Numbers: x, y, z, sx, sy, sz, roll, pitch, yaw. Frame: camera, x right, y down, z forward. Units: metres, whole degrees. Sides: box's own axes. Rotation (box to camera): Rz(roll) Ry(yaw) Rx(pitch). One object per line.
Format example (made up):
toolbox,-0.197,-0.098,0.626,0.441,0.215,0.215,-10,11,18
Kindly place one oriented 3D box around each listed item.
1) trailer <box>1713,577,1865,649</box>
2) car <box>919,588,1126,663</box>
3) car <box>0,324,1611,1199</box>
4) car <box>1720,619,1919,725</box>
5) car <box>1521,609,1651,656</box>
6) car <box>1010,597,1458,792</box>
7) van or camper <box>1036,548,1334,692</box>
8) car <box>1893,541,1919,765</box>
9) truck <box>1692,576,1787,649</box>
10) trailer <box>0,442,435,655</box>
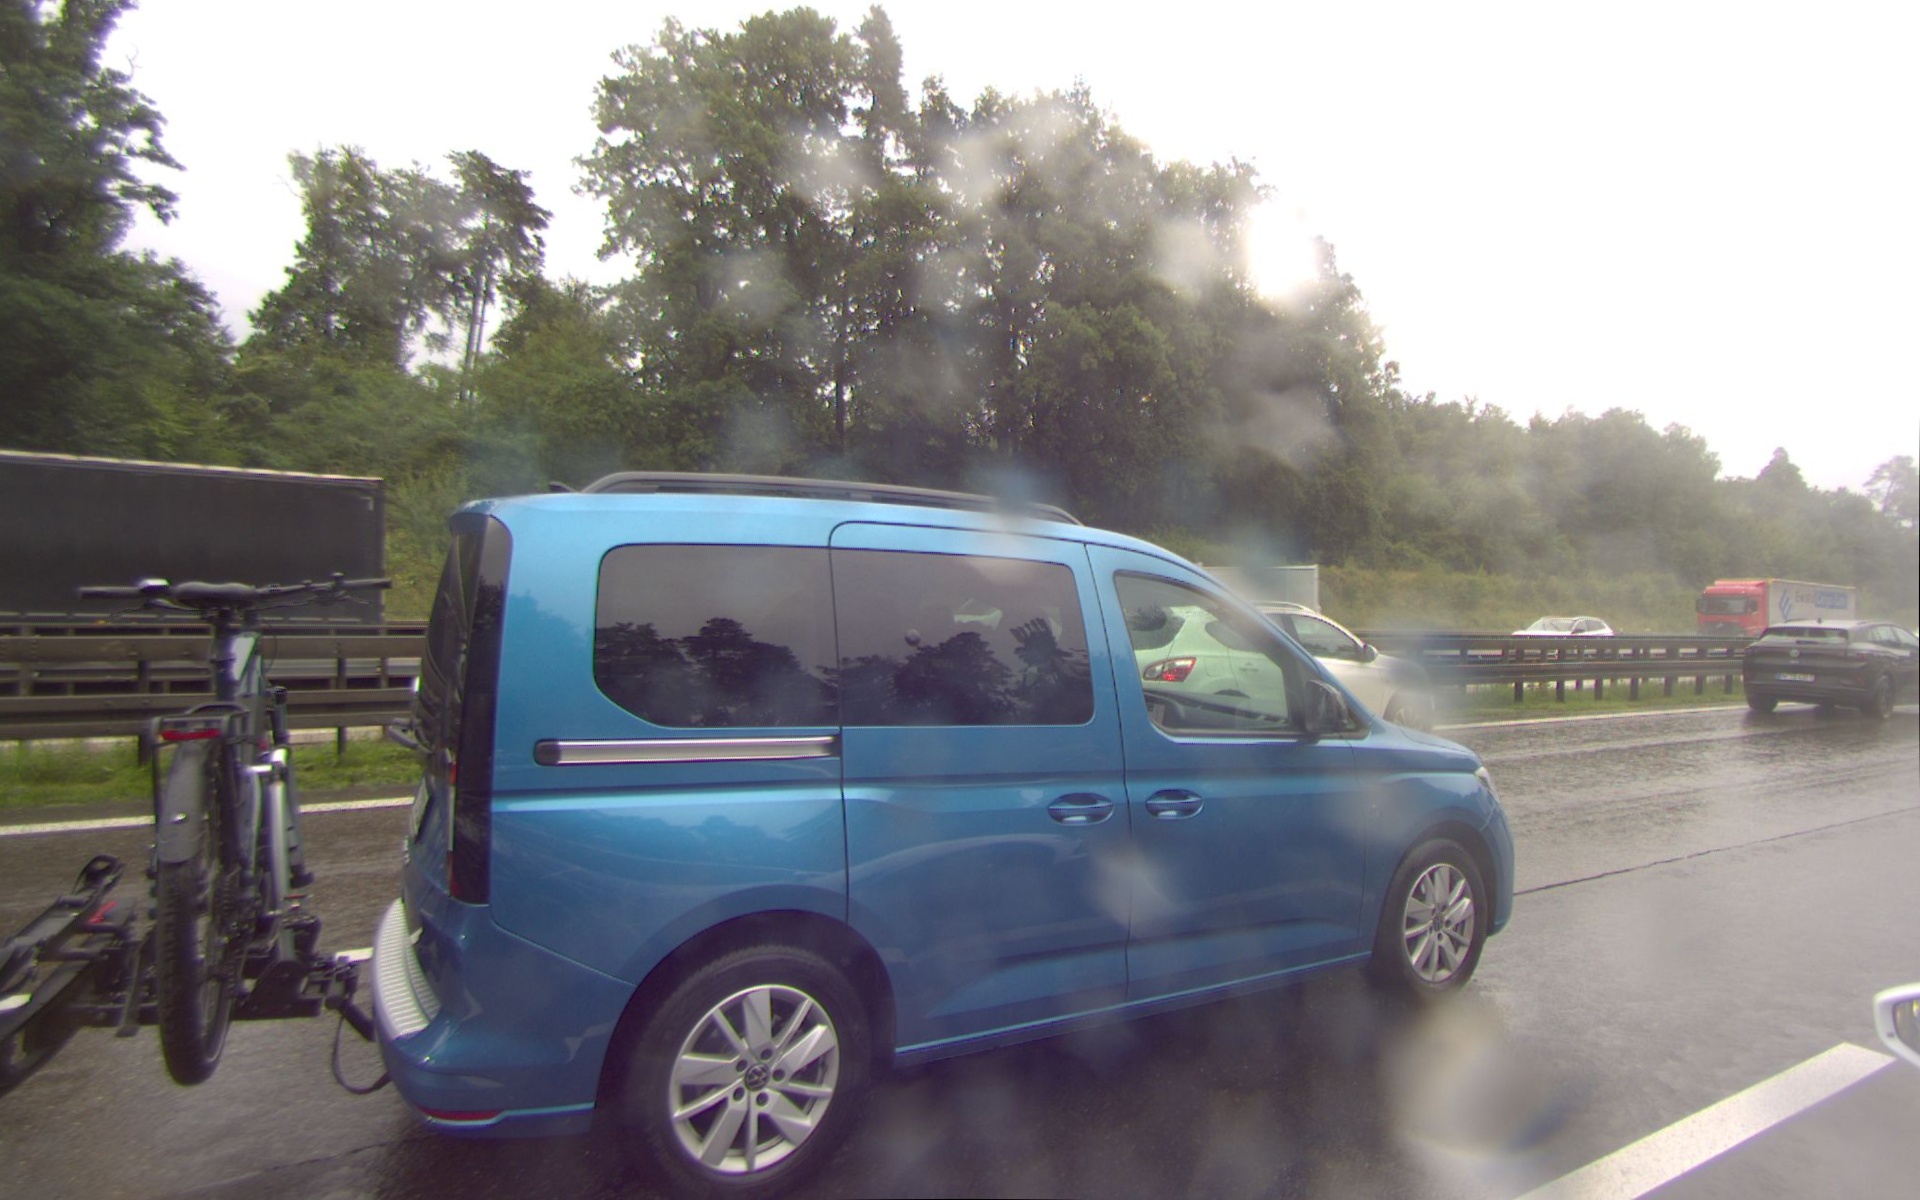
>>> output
trailer,50.628,0.911,61.123,13.800,4.006,2.706,2,-2,-31
car,1.410,0.539,22.147,4.281,1.517,1.827,1,0,-31
car,-0.188,0.522,3.770,4.951,1.937,2.261,1,0,-27
car,15.457,1.171,17.635,4.414,1.613,1.836,1,0,-31
car,21.520,1.100,34.490,4.655,1.527,1.983,1,-1,-32
car,2.859,0.817,10.254,4.413,1.613,1.837,1,0,-30
van or camper,4.449,0.393,19.538,5.633,2.455,2.218,1,0,-30
car,13.751,0.658,12.138,4.954,2.607,2.203,1,0,-29
truck,44.617,0.744,57.493,4.834,4.006,2.691,1,-2,-30
trailer,-17.969,-0.941,19.731,13.405,3.869,3.009,1,0,-31
